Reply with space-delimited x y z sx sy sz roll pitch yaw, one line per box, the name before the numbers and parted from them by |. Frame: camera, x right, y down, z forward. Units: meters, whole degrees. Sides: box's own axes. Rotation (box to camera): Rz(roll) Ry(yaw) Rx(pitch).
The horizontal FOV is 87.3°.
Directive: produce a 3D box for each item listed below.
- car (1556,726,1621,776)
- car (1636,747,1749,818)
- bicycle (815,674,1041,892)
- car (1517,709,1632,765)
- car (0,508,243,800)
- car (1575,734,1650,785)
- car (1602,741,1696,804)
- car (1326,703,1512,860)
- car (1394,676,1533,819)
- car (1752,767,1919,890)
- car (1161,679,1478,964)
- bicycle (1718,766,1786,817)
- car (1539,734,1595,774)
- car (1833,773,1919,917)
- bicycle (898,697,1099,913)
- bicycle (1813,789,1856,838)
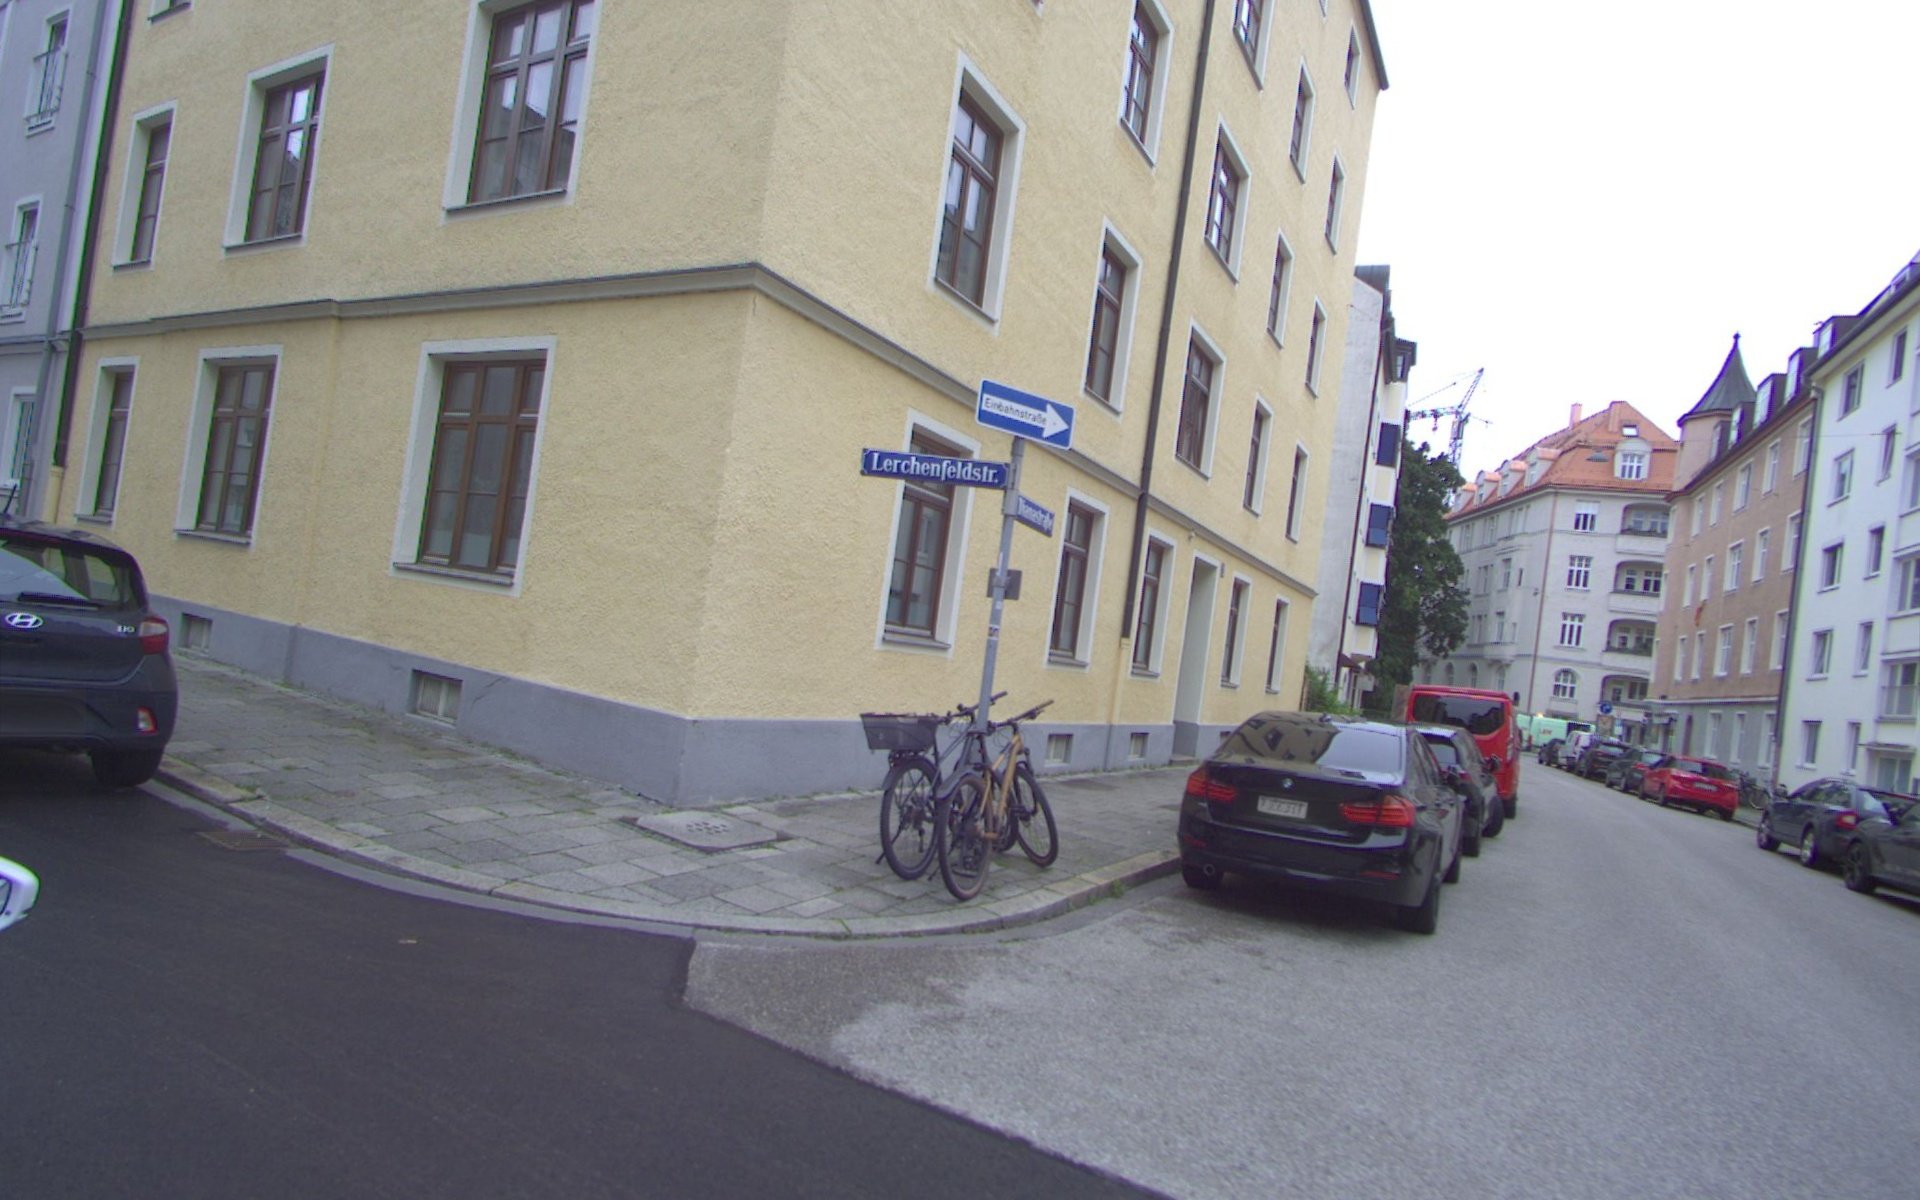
car | 27.910 6.669 44.801 1.705 1.812 4.112 9 -2 25
car | 20.666 5.100 28.537 1.705 1.433 3.678 9 -2 25
bicycle | -0.139 1.141 6.730 0.496 1.188 1.811 9 0 29
car | 39.292 8.750 64.530 5.886 2.572 2.001 7 -3 26
car | -6.653 0.074 6.347 4.270 1.484 1.757 7 -4 31
car | 25.738 6.267 39.791 1.705 1.531 3.888 9 -2 25
car | 22.734 5.645 33.340 1.705 1.531 3.888 9 -2 25
car | 6.079 2.241 13.058 1.683 1.510 3.984 5 -4 31
car | 9.323 2.638 18.477 1.876 2.074 4.554 5 -4 29
car | 14.865 3.751 16.827 1.538 1.433 3.677 9 -2 25
car | 3.211 1.596 8.352 1.682 1.510 4.223 6 -3 29
bicycle | 26.214 6.295 33.344 1.002 1.304 2.902 8 -2 26
car | 30.160 7.639 50.068 1.705 1.531 3.888 9 -2 25
car | 12.485 3.198 12.275 1.538 1.544 3.675 12 1 25
bicycle | 0.310 1.226 6.450 0.367 1.153 1.716 9 0 30
bicycle | 24.019 5.850 27.646 0.457 1.128 1.802 7 -3 30
